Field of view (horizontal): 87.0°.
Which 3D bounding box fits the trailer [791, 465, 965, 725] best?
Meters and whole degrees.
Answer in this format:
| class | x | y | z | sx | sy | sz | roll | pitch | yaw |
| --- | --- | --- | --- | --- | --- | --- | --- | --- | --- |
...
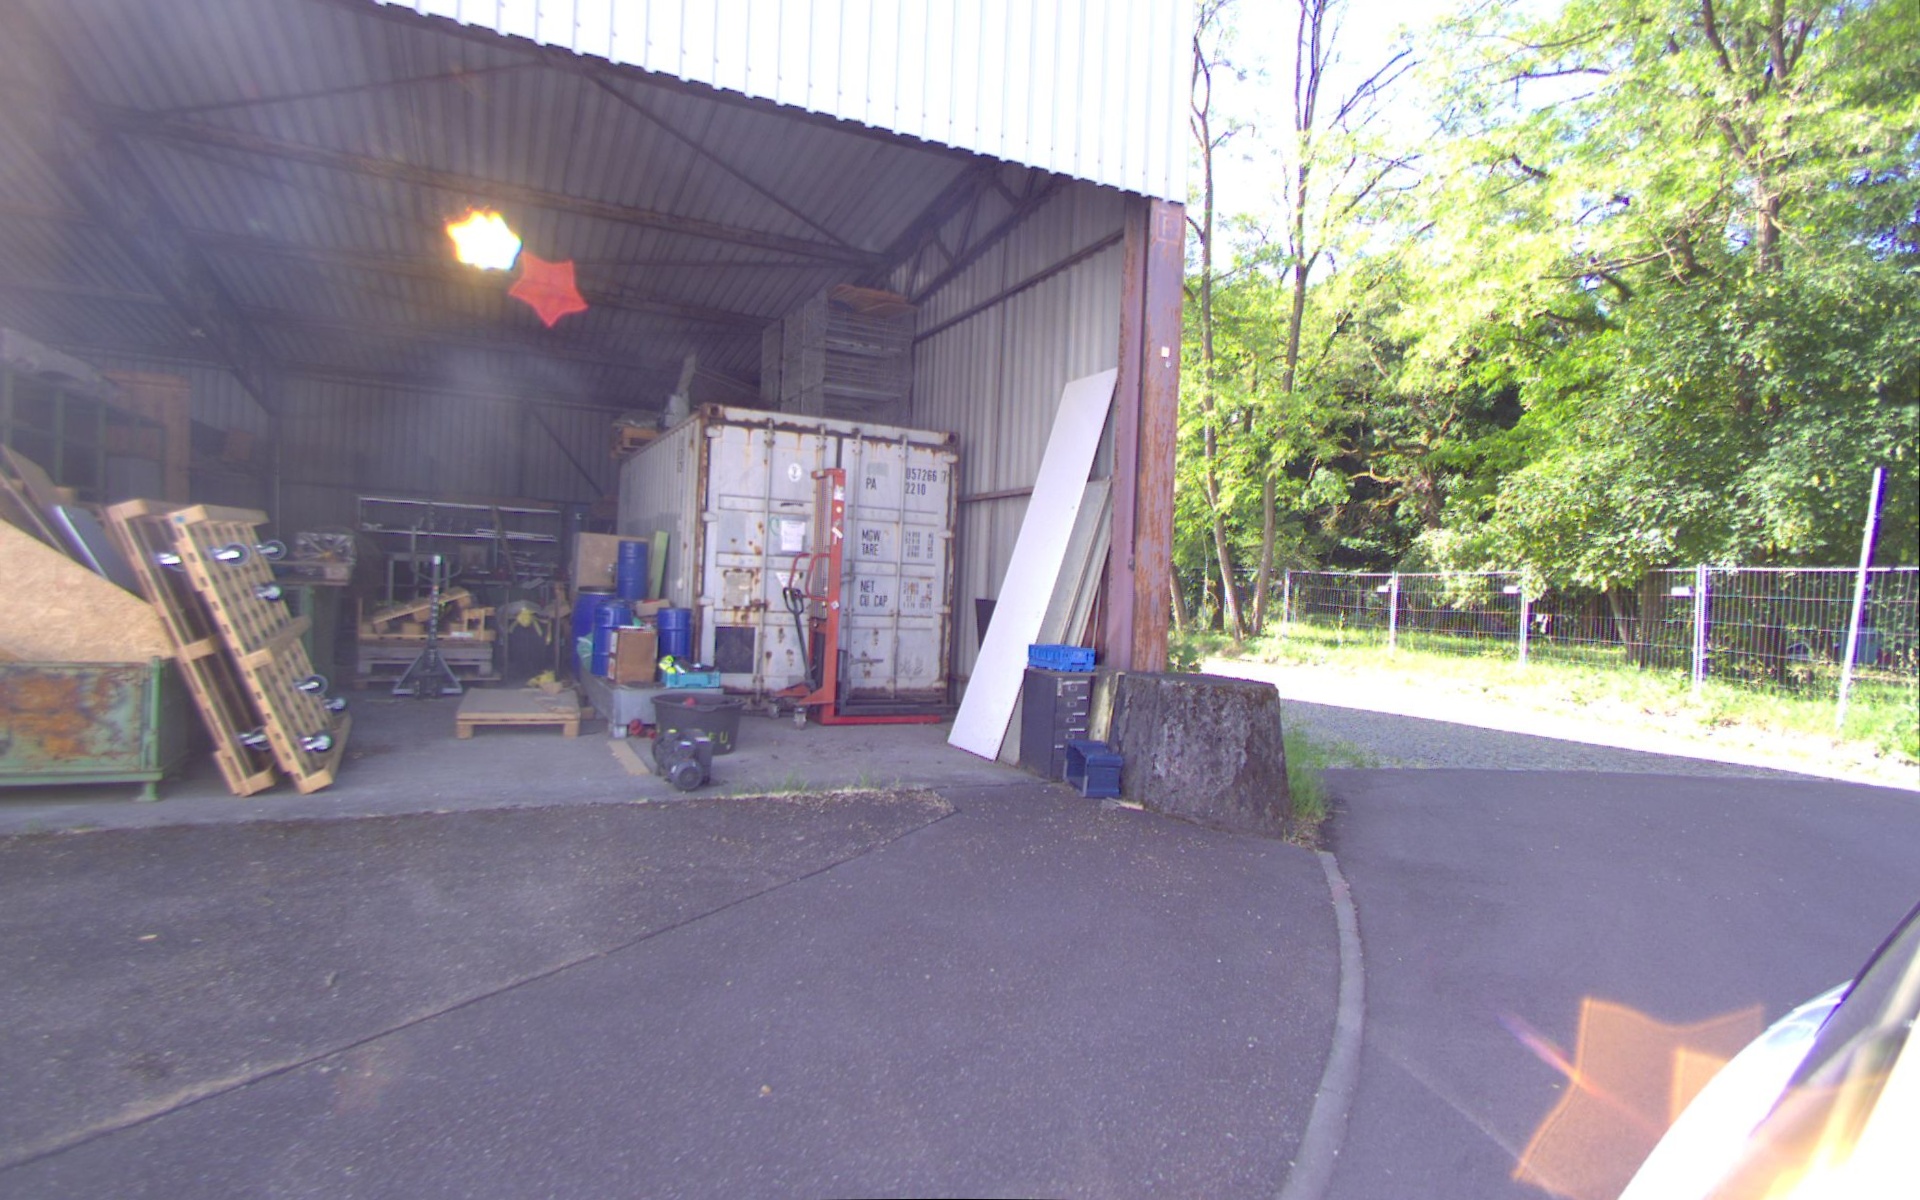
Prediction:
| class | x | y | z | sx | sy | sz | roll | pitch | yaw |
| --- | --- | --- | --- | --- | --- | --- | --- | --- | --- |
| trailer | -0.697 | -0.009 | 8.667 | 1.257 | 2.094 | 0.582 | 4 | -2 | -29 |
